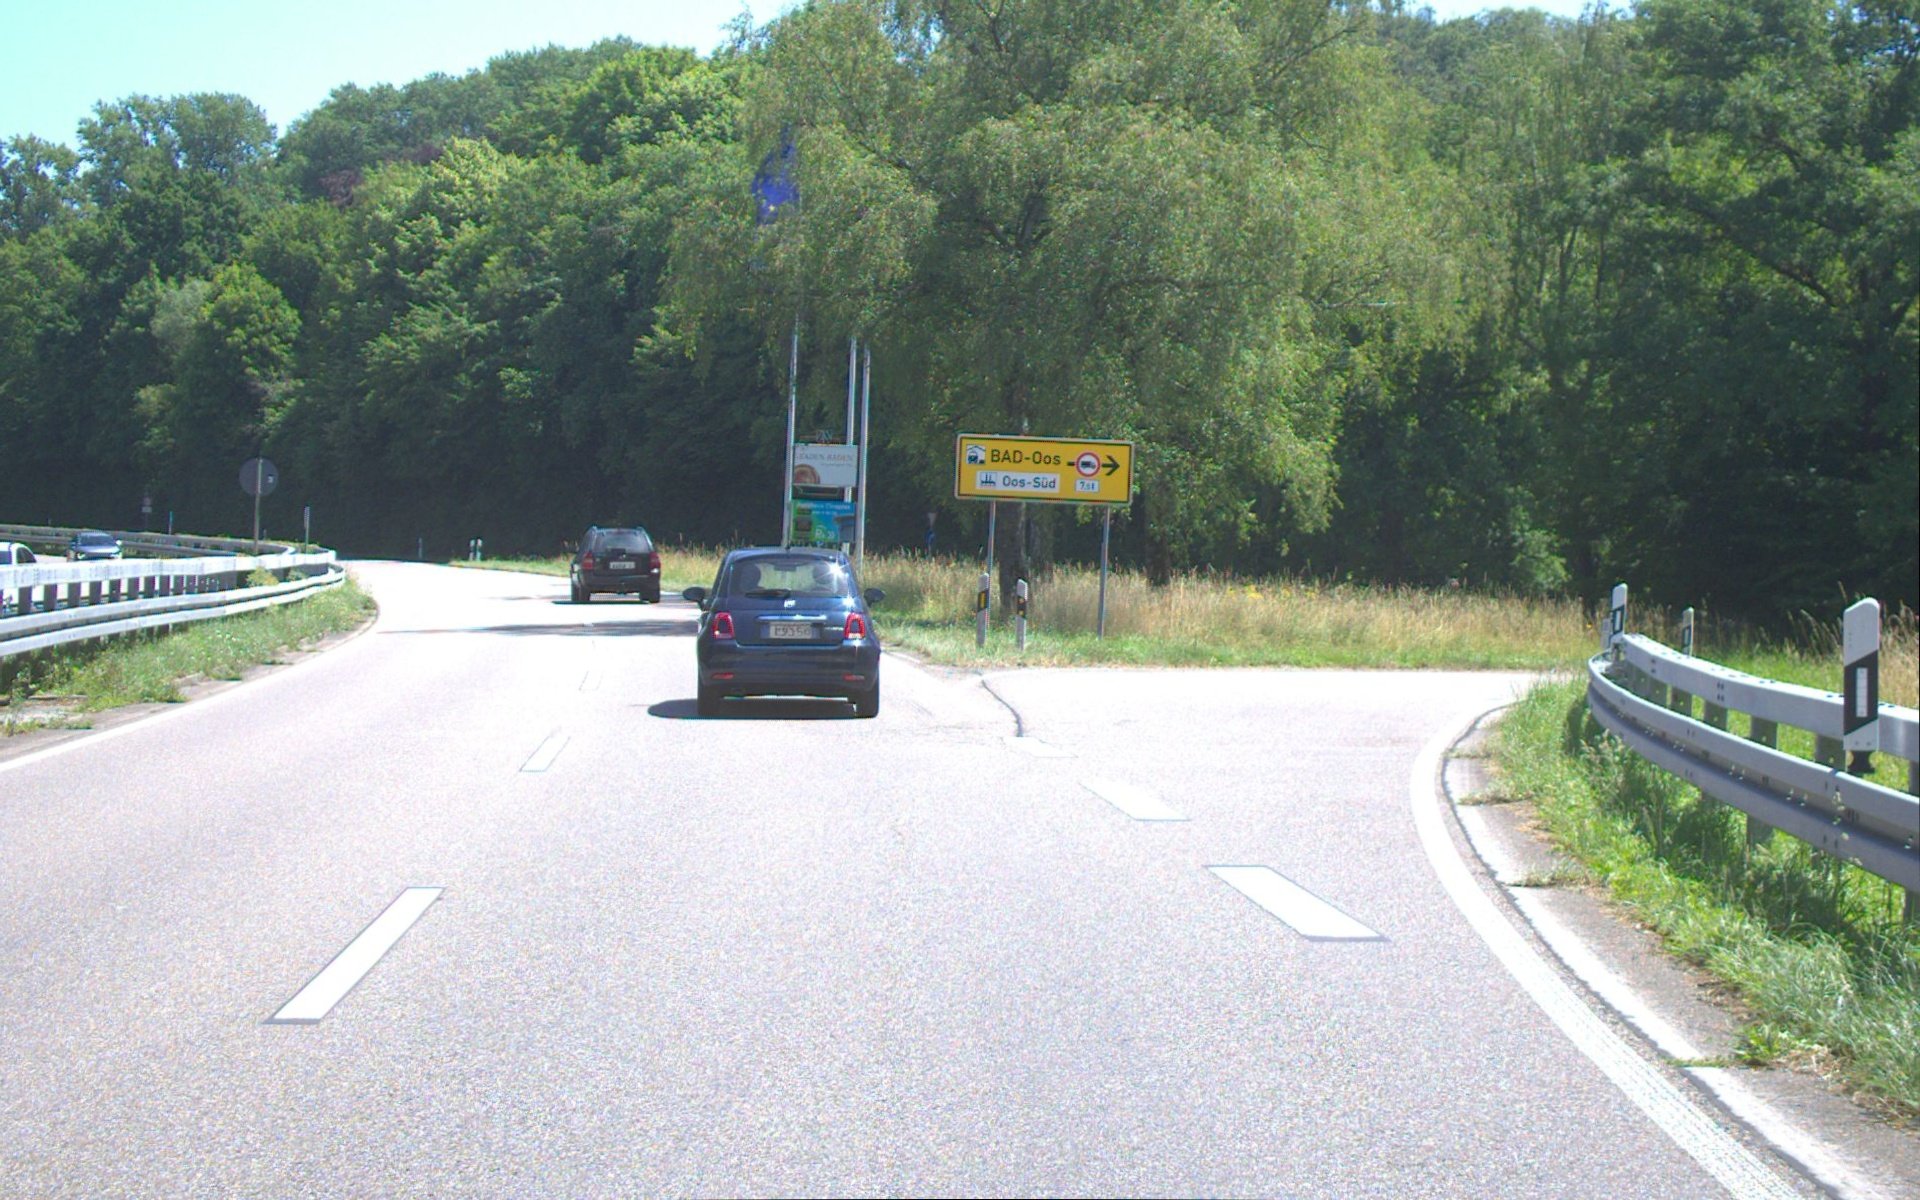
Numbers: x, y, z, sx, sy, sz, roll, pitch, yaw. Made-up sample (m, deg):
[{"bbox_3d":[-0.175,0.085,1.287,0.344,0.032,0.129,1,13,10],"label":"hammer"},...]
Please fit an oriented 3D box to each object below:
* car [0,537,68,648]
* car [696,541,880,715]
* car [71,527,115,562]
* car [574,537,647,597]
[{"bbox_3d":[-14.528,-0.143,50.792,1.755,1.567,4.414,0,1,-3],"label":"car"},{"bbox_3d":[-1.515,0.209,31.246,1.513,1.496,3.590,0,1,0],"label":"car"},{"bbox_3d":[-34.617,-2.223,137.244,1.440,1.376,3.850,0,1,-18],"label":"car"},{"bbox_3d":[-7.843,-0.749,76.966,1.525,1.309,3.416,0,1,-7],"label":"car"}]
